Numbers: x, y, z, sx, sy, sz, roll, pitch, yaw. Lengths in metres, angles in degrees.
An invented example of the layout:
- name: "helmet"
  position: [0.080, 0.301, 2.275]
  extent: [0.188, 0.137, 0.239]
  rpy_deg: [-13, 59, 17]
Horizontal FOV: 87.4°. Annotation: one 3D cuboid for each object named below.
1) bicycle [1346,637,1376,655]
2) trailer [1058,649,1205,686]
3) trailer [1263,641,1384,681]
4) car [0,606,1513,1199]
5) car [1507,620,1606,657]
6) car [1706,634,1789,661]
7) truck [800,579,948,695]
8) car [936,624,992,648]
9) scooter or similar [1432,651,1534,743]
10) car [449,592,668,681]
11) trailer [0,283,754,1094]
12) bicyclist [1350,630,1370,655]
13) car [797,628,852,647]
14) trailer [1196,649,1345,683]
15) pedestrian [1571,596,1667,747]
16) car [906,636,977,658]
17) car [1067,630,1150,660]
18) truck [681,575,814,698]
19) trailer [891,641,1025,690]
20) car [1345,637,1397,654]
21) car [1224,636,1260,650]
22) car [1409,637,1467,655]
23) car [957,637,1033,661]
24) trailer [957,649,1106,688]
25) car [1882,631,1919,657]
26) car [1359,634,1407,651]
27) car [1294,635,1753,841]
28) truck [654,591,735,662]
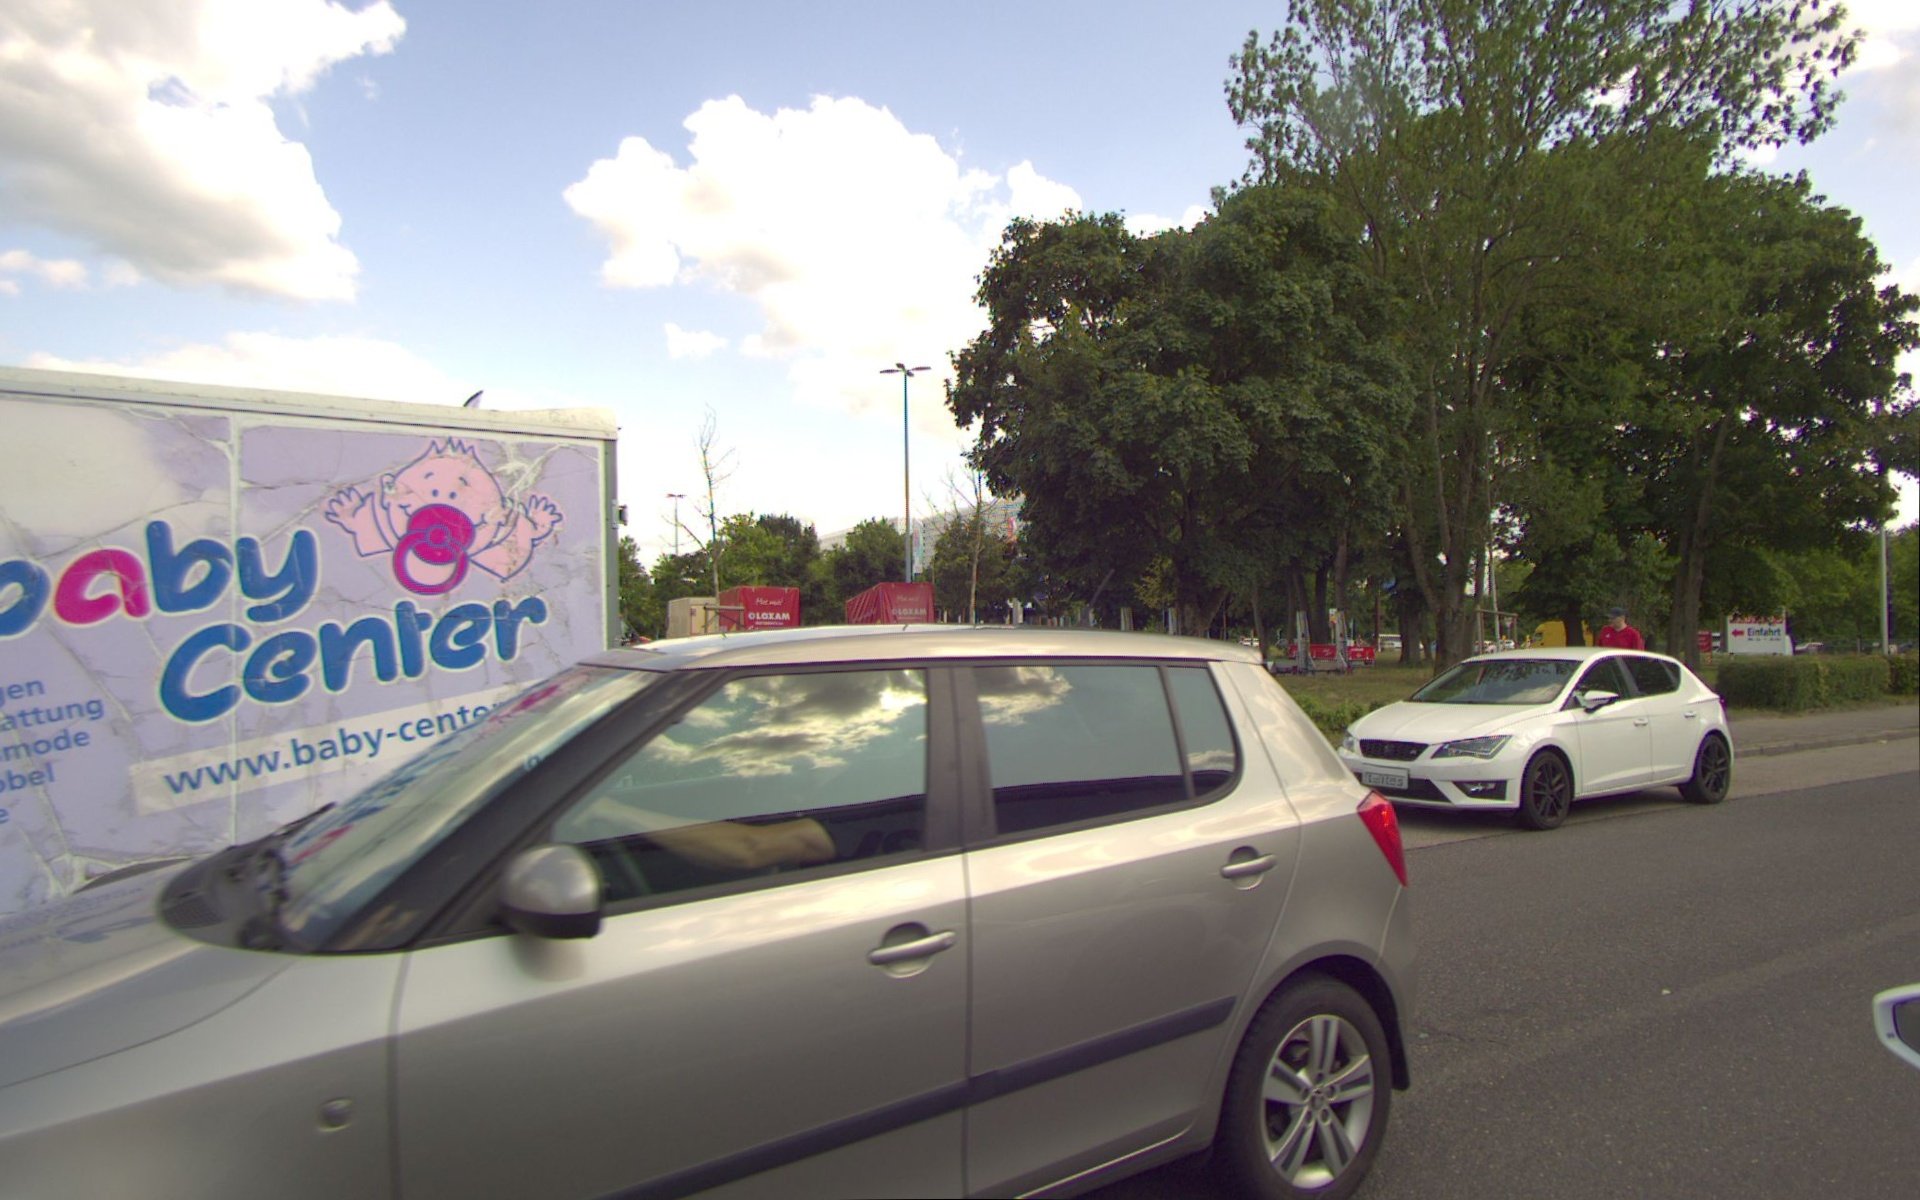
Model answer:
- name: "bicycle"
  position: [27.518, 3.146, 68.965]
  extent: [0.722, 1.181, 1.799]
  rpy_deg: [0, -3, -32]
- name: "trailer"
  position: [4.879, 1.926, 29.160]
  extent: [1.999, 0.924, 4.215]
  rpy_deg: [3, -3, -30]
- name: "trailer"
  position: [12.061, 2.007, 33.578]
  extent: [1.690, 1.206, 3.810]
  rpy_deg: [0, -2, -22]
- name: "car"
  position: [-0.460, 0.806, 2.615]
  extent: [3.716, 1.484, 1.584]
  rpy_deg: [1, -3, -29]
- name: "car"
  position: [44.251, 2.858, 74.717]
  extent: [2.173, 2.612, 6.375]
  rpy_deg: [1, -2, -21]
- name: "car"
  position: [66.275, 3.979, 84.638]
  extent: [1.777, 2.240, 5.260]
  rpy_deg: [1, -3, -31]
- name: "truck"
  position: [-2.337, 0.957, 25.551]
  extent: [1.757, 2.627, 5.528]
  rpy_deg: [3, -3, -27]
- name: "car"
  position: [0.440, 3.867, 108.344]
  extent: [5.790, 2.474, 2.213]
  rpy_deg: [0, -2, 6]
- name: "scooter or similar"
  position: [7.210, 1.317, 13.847]
  extent: [1.259, 1.209, 0.517]
  rpy_deg: [1, -1, -17]
- name: "car"
  position: [-13.050, 1.258, 32.804]
  extent: [6.359, 2.627, 2.257]
  rpy_deg: [3, -3, -28]
- name: "trailer"
  position: [-3.528, 0.362, 4.621]
  extent: [4.646, 2.819, 2.131]
  rpy_deg: [1, -4, -29]
- name: "bicyclist"
  position: [27.490, 2.918, 68.992]
  extent: [0.726, 1.669, 1.001]
  rpy_deg: [0, -2, -33]
- name: "car"
  position: [-15.191, 4.171, 112.950]
  extent: [5.790, 2.104, 2.213]
  rpy_deg: [0, -2, 6]
- name: "trailer"
  position: [9.834, 2.074, 32.221]
  extent: [2.156, 0.925, 4.585]
  rpy_deg: [0, -2, -23]
- name: "pedestrian"
  position: [9.258, 0.980, 14.128]
  extent: [0.874, 2.040, 0.806]
  rpy_deg: [1, -2, -29]
- name: "car"
  position: [-1.250, 3.153, 67.283]
  extent: [4.357, 1.431, 1.985]
  rpy_deg: [1, -2, -29]
- name: "car"
  position: [7.880, 2.398, 53.214]
  extent: [4.304, 1.531, 1.561]
  rpy_deg: [2, -3, -29]
- name: "truck"
  position: [-5.327, 0.907, 24.474]
  extent: [1.791, 2.627, 5.737]
  rpy_deg: [3, -3, -26]
- name: "trailer"
  position: [-0.146, 1.687, 26.419]
  extent: [1.652, 1.135, 4.215]
  rpy_deg: [3, -3, -29]
- name: "car"
  position: [36.066, 3.976, 88.205]
  extent: [1.776, 1.424, 3.999]
  rpy_deg: [1, -2, -30]
- name: "car"
  position: [32.832, 5.003, 116.988]
  extent: [3.831, 1.523, 1.876]
  rpy_deg: [0, -2, 5]
- name: "car"
  position: [39.445, 3.813, 82.982]
  extent: [1.776, 1.424, 3.999]
  rpy_deg: [1, -2, -30]
- name: "car"
  position: [2.213, 3.012, 62.621]
  extent: [4.357, 1.431, 1.985]
  rpy_deg: [1, -2, -29]
- name: "trailer"
  position: [1.885, 1.857, 27.675]
  extent: [2.134, 0.924, 4.215]
  rpy_deg: [3, -3, -30]
- name: "car"
  position: [54.261, 2.436, 55.730]
  extent: [1.901, 1.424, 4.201]
  rpy_deg: [1, -2, -30]
- name: "car"
  position: [43.692, 4.371, 103.849]
  extent: [4.176, 1.706, 2.002]
  rpy_deg: [0, -2, 8]
- name: "car"
  position: [5.277, 1.129, 9.305]
  extent: [4.184, 1.498, 1.758]
  rpy_deg: [1, -5, -30]
- name: "truck"
  position: [-16.404, 1.648, 61.577]
  extent: [2.950, 4.000, 8.293]
  rpy_deg: [3, -3, -27]
